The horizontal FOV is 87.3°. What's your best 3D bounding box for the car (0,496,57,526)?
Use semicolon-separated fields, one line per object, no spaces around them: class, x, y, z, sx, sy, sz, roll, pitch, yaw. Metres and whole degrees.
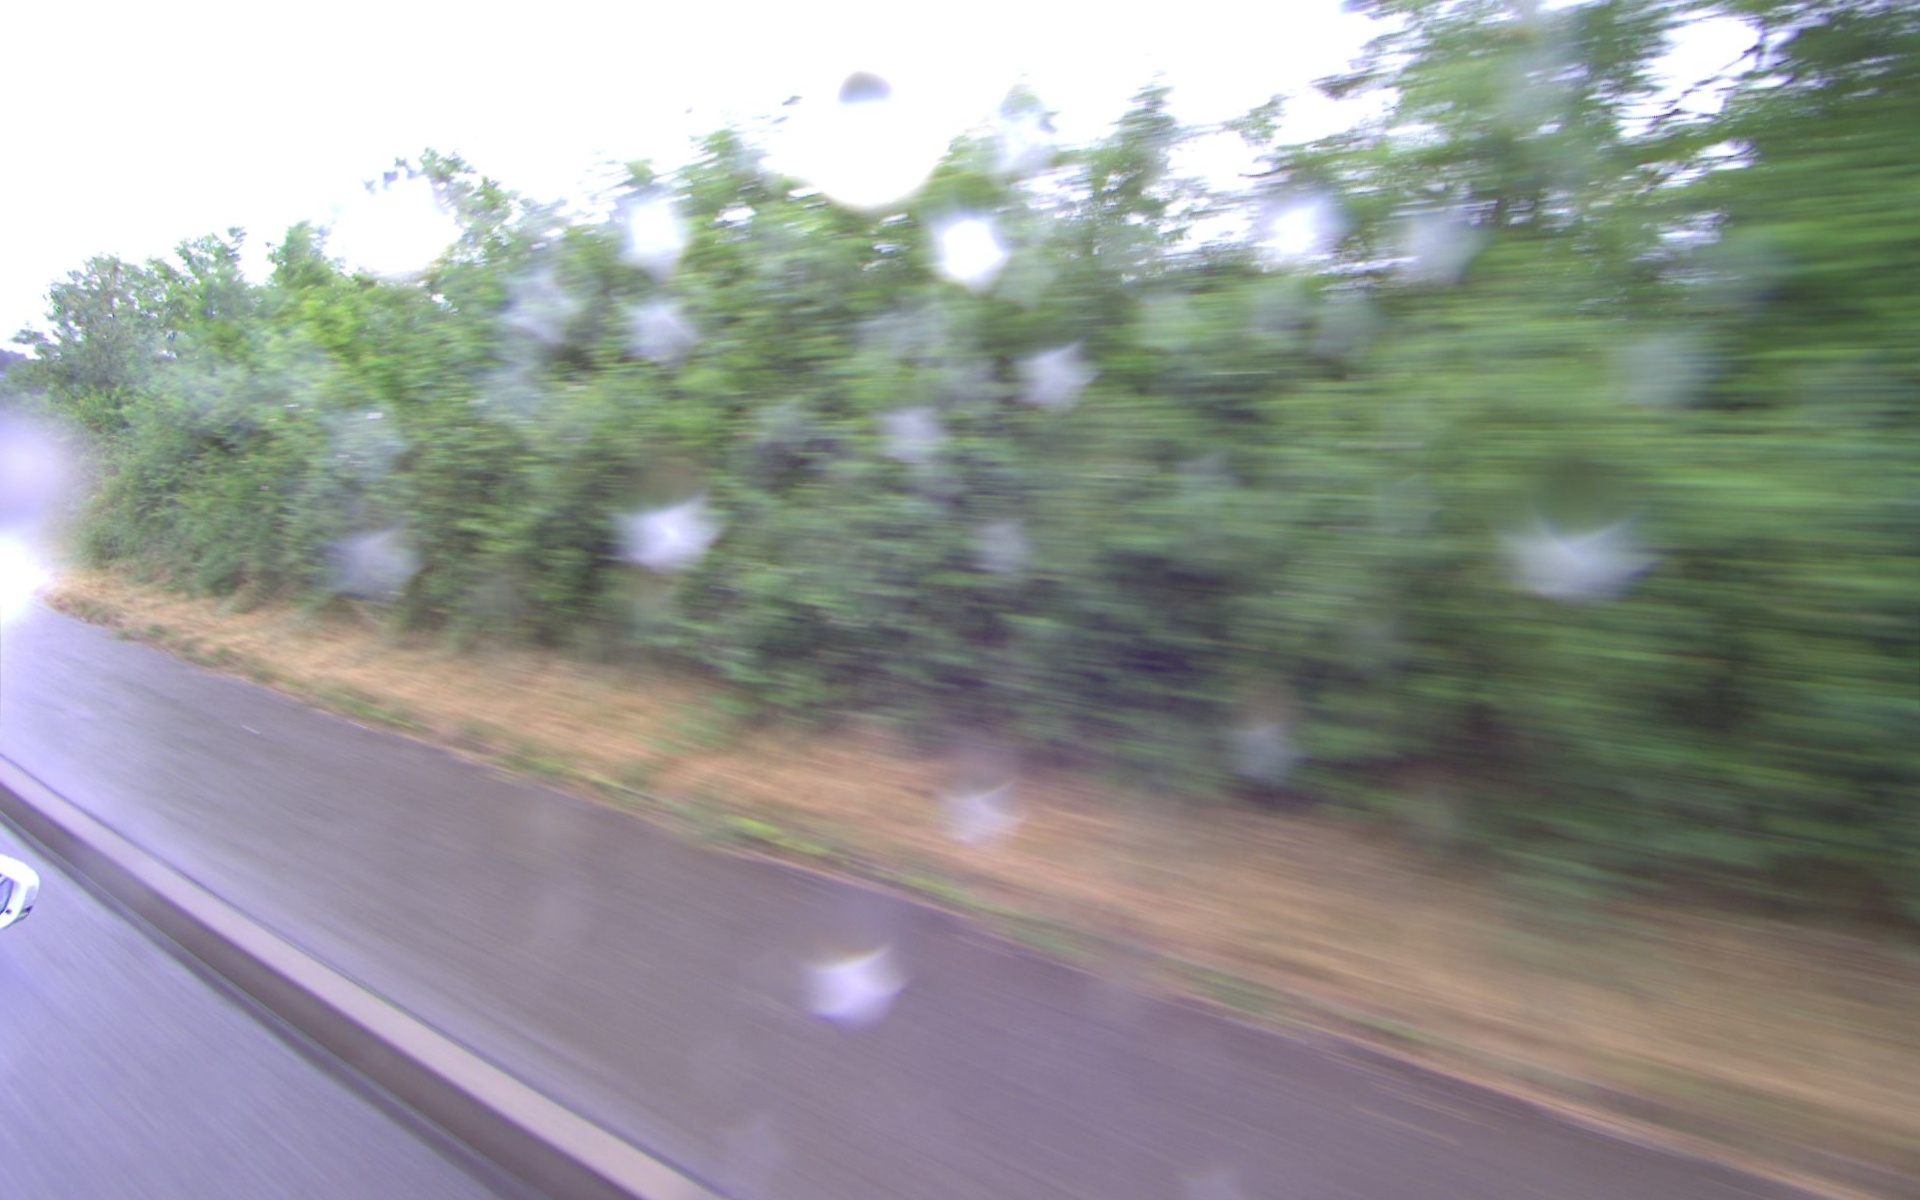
car;-64.842;-6.175;70.094;1.852;1.569;4.234;10;-3;-30
